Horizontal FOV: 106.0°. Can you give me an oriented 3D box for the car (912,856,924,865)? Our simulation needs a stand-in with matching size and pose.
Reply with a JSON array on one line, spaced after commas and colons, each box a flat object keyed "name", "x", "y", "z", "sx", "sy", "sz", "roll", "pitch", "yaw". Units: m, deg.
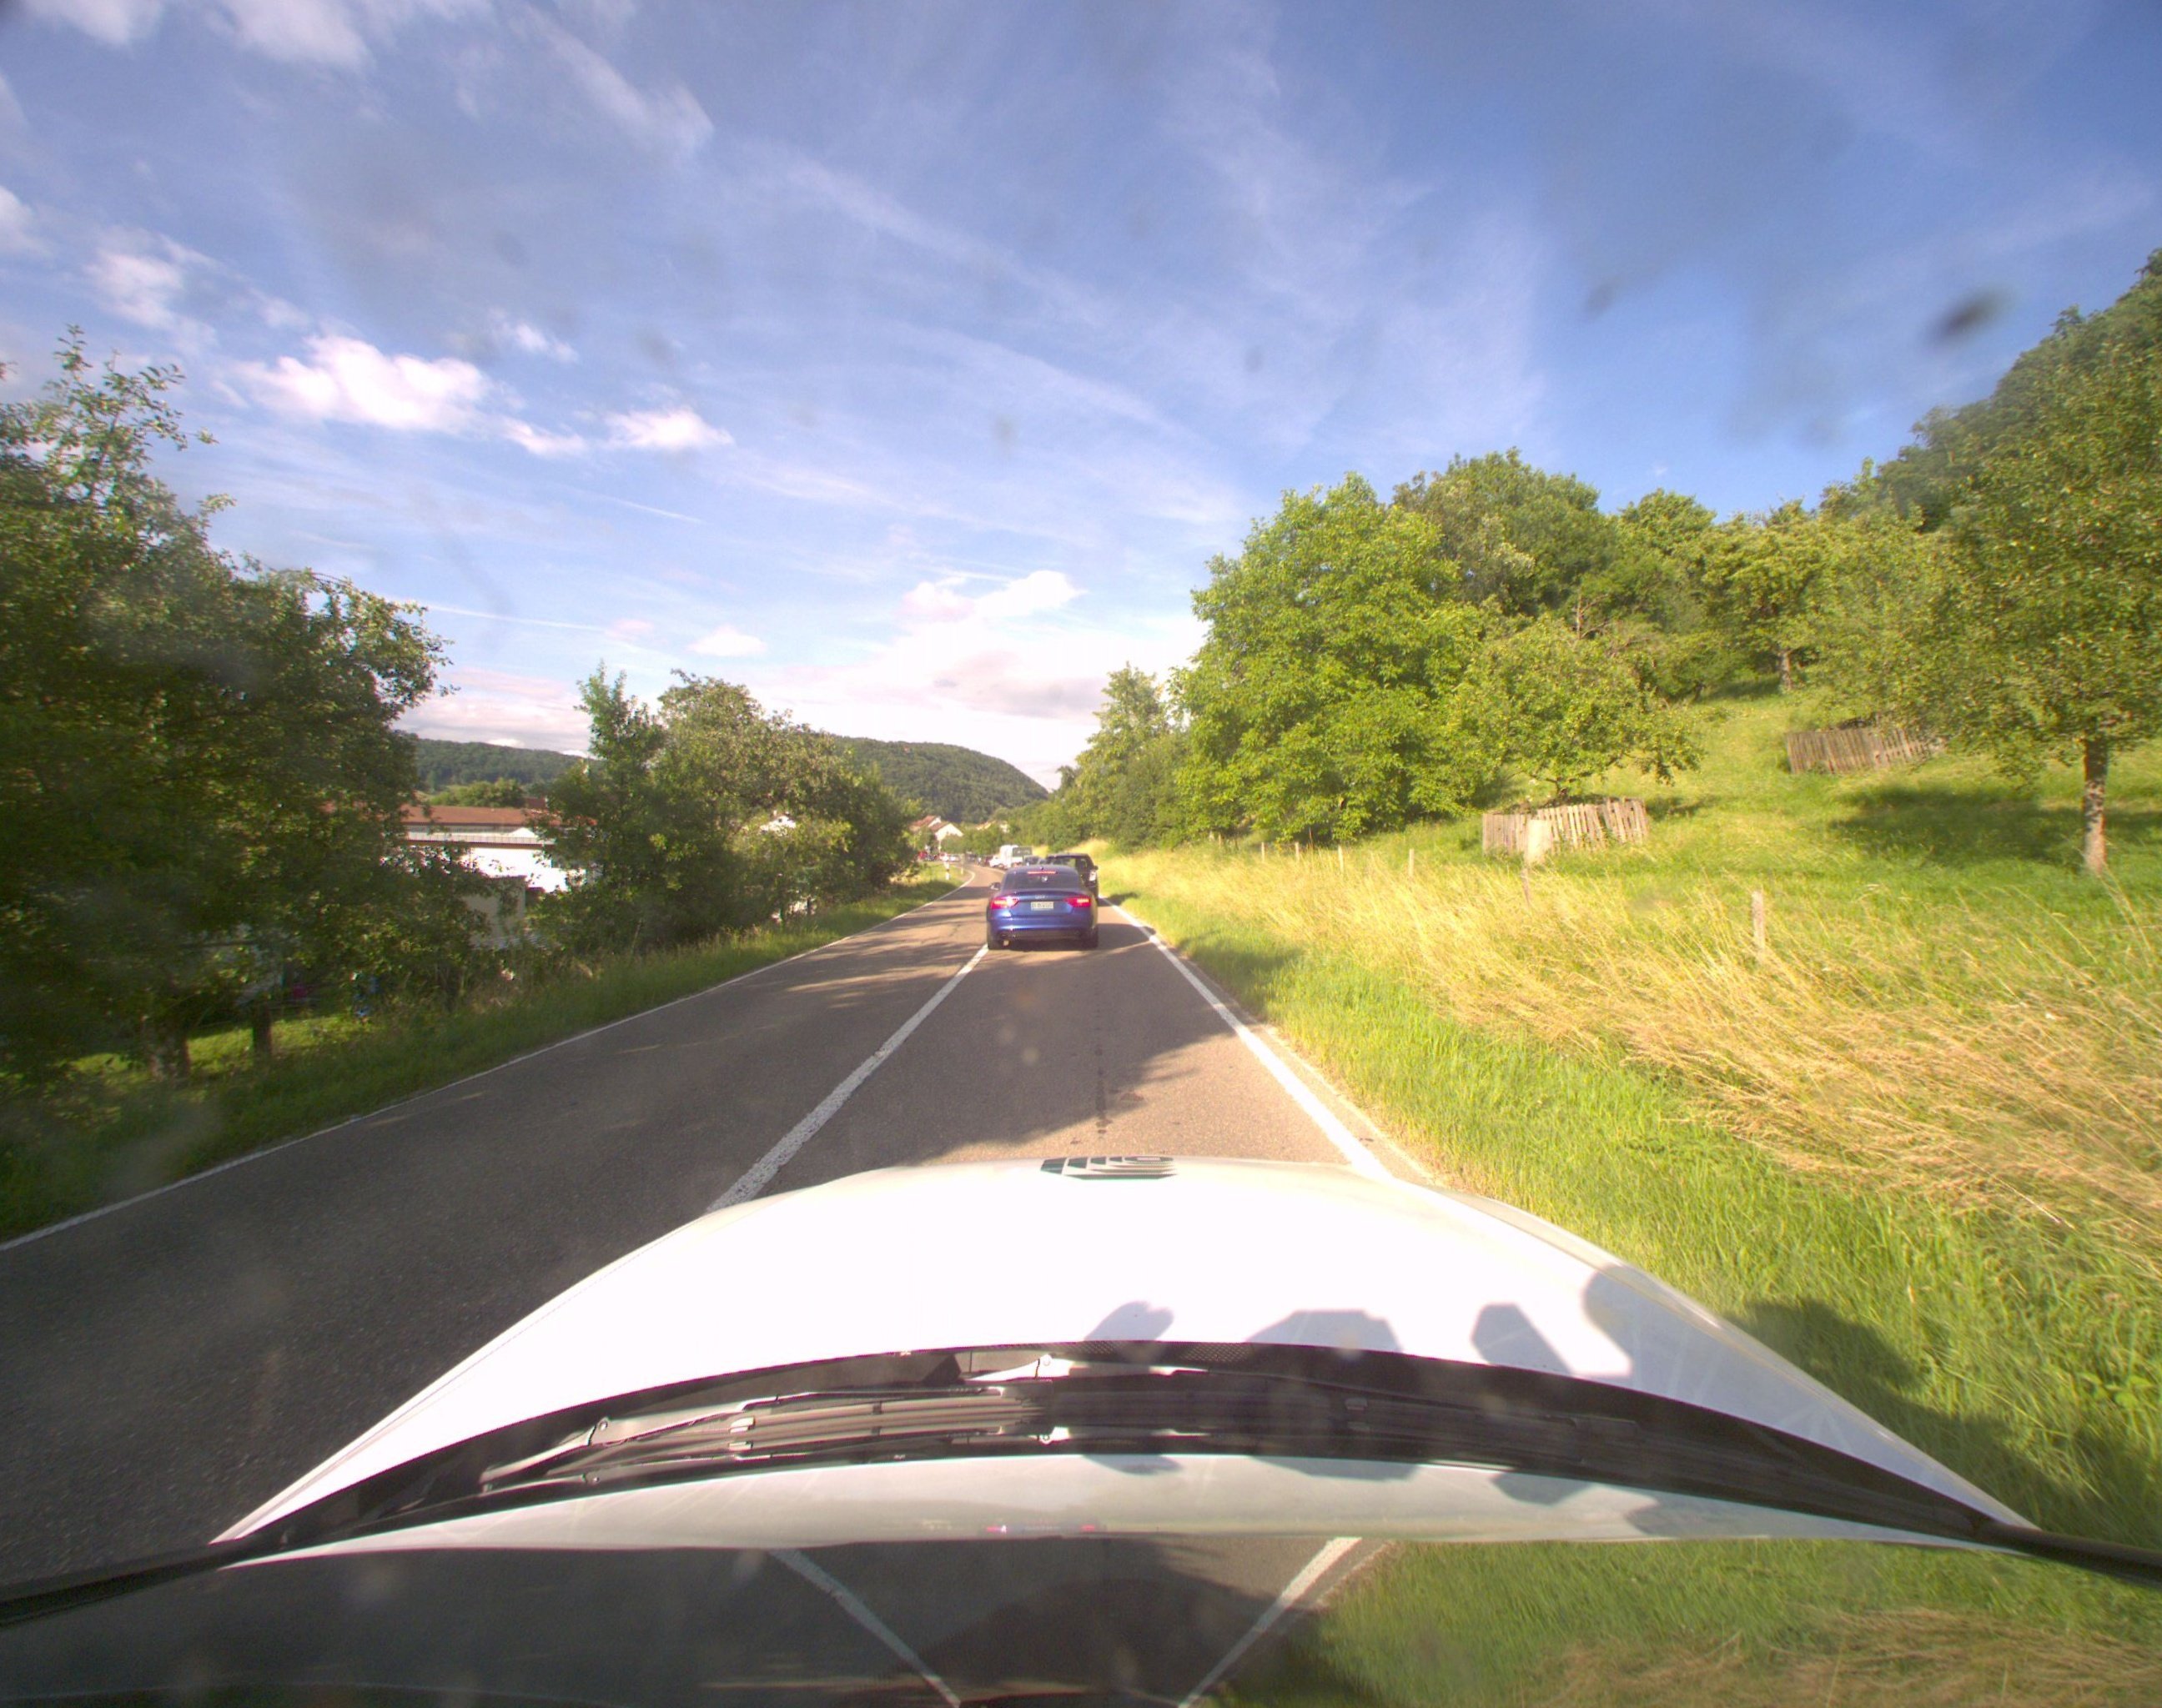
[{"name": "car", "x": -37.563, "y": 1.541, "z": 187.879, "sx": 2.001, "sy": 2.014, "sz": 3.971, "roll": 0, "pitch": -1, "yaw": -21}]

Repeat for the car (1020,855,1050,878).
[{"name": "car", "x": -3.217, "y": 0.852, "z": 56.411, "sx": 1.990, "sy": 1.482, "sz": 3.993, "roll": -1, "pitch": -1, "yaw": -5}]

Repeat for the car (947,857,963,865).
[{"name": "car", "x": -23.312, "y": 1.280, "z": 150.201, "sx": 2.002, "sy": 1.482, "sz": 3.970, "roll": 0, "pitch": -1, "yaw": -22}]

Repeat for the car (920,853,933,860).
[{"name": "car", "x": -30.836, "y": 0.475, "z": 162.168, "sx": 2.000, "sy": 1.376, "sz": 3.973, "roll": 0, "pitch": -1, "yaw": -20}]

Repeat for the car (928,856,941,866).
[{"name": "car", "x": -31.291, "y": 1.441, "z": 173.332, "sx": 2.001, "sy": 2.014, "sz": 3.971, "roll": 0, "pitch": -1, "yaw": -21}]

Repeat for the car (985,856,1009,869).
[{"name": "car", "x": -10.351, "y": 1.034, "z": 99.730, "sx": 2.000, "sy": 1.482, "sz": 3.973, "roll": 0, "pitch": -1, "yaw": -20}]

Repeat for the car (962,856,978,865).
[{"name": "car", "x": -18.079, "y": 1.061, "z": 132.963, "sx": 1.998, "sy": 1.482, "sz": 3.978, "roll": 0, "pitch": -1, "yaw": -16}]

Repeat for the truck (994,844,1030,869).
[{"name": "truck", "x": -7.794, "y": 0.292, "z": 90.700, "sx": 2.865, "sy": 2.665, "sz": 10.606, "roll": 0, "pitch": 0, "yaw": -10}]

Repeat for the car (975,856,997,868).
[{"name": "car", "x": -12.495, "y": 1.070, "z": 107.083, "sx": 2.000, "sy": 1.482, "sz": 3.973, "roll": 0, "pitch": -1, "yaw": -20}]

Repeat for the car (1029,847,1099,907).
[{"name": "car", "x": -0.473, "y": 0.682, "z": 25.496, "sx": 1.987, "sy": 1.702, "sz": 3.999, "roll": -1, "pitch": -1, "yaw": 0}]

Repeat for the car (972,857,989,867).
[{"name": "car", "x": -15.156, "y": 1.275, "z": 122.897, "sx": 1.998, "sy": 1.482, "sz": 3.978, "roll": 0, "pitch": -1, "yaw": -16}]

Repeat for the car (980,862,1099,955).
[{"name": "car", "x": -0.596, "y": 0.851, "z": 14.440, "sx": 1.787, "sy": 1.360, "sz": 4.001, "roll": -1, "pitch": 0, "yaw": 1}]

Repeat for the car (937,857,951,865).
[{"name": "car", "x": -26.728, "y": 1.396, "z": 158.609, "sx": 2.002, "sy": 1.482, "sz": 3.970, "roll": 0, "pitch": -1, "yaw": -22}]

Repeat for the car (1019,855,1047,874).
[{"name": "car", "x": -3.963, "y": 0.837, "z": 66.875, "sx": 1.992, "sy": 1.482, "sz": 3.990, "roll": -1, "pitch": -1, "yaw": -7}]

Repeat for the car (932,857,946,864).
[{"name": "car", "x": -28.727, "y": 1.362, "z": 164.498, "sx": 2.002, "sy": 1.482, "sz": 3.970, "roll": 0, "pitch": -1, "yaw": -22}]

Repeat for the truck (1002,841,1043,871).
[{"name": "truck", "x": -5.801, "y": 0.215, "z": 79.347, "sx": 2.865, "sy": 2.665, "sz": 10.355, "roll": 0, "pitch": 0, "yaw": -10}]

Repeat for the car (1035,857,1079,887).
[{"name": "car", "x": -1.099, "y": 0.839, "z": 39.111, "sx": 1.987, "sy": 1.387, "sz": 3.999, "roll": -1, "pitch": -1, "yaw": 0}]
